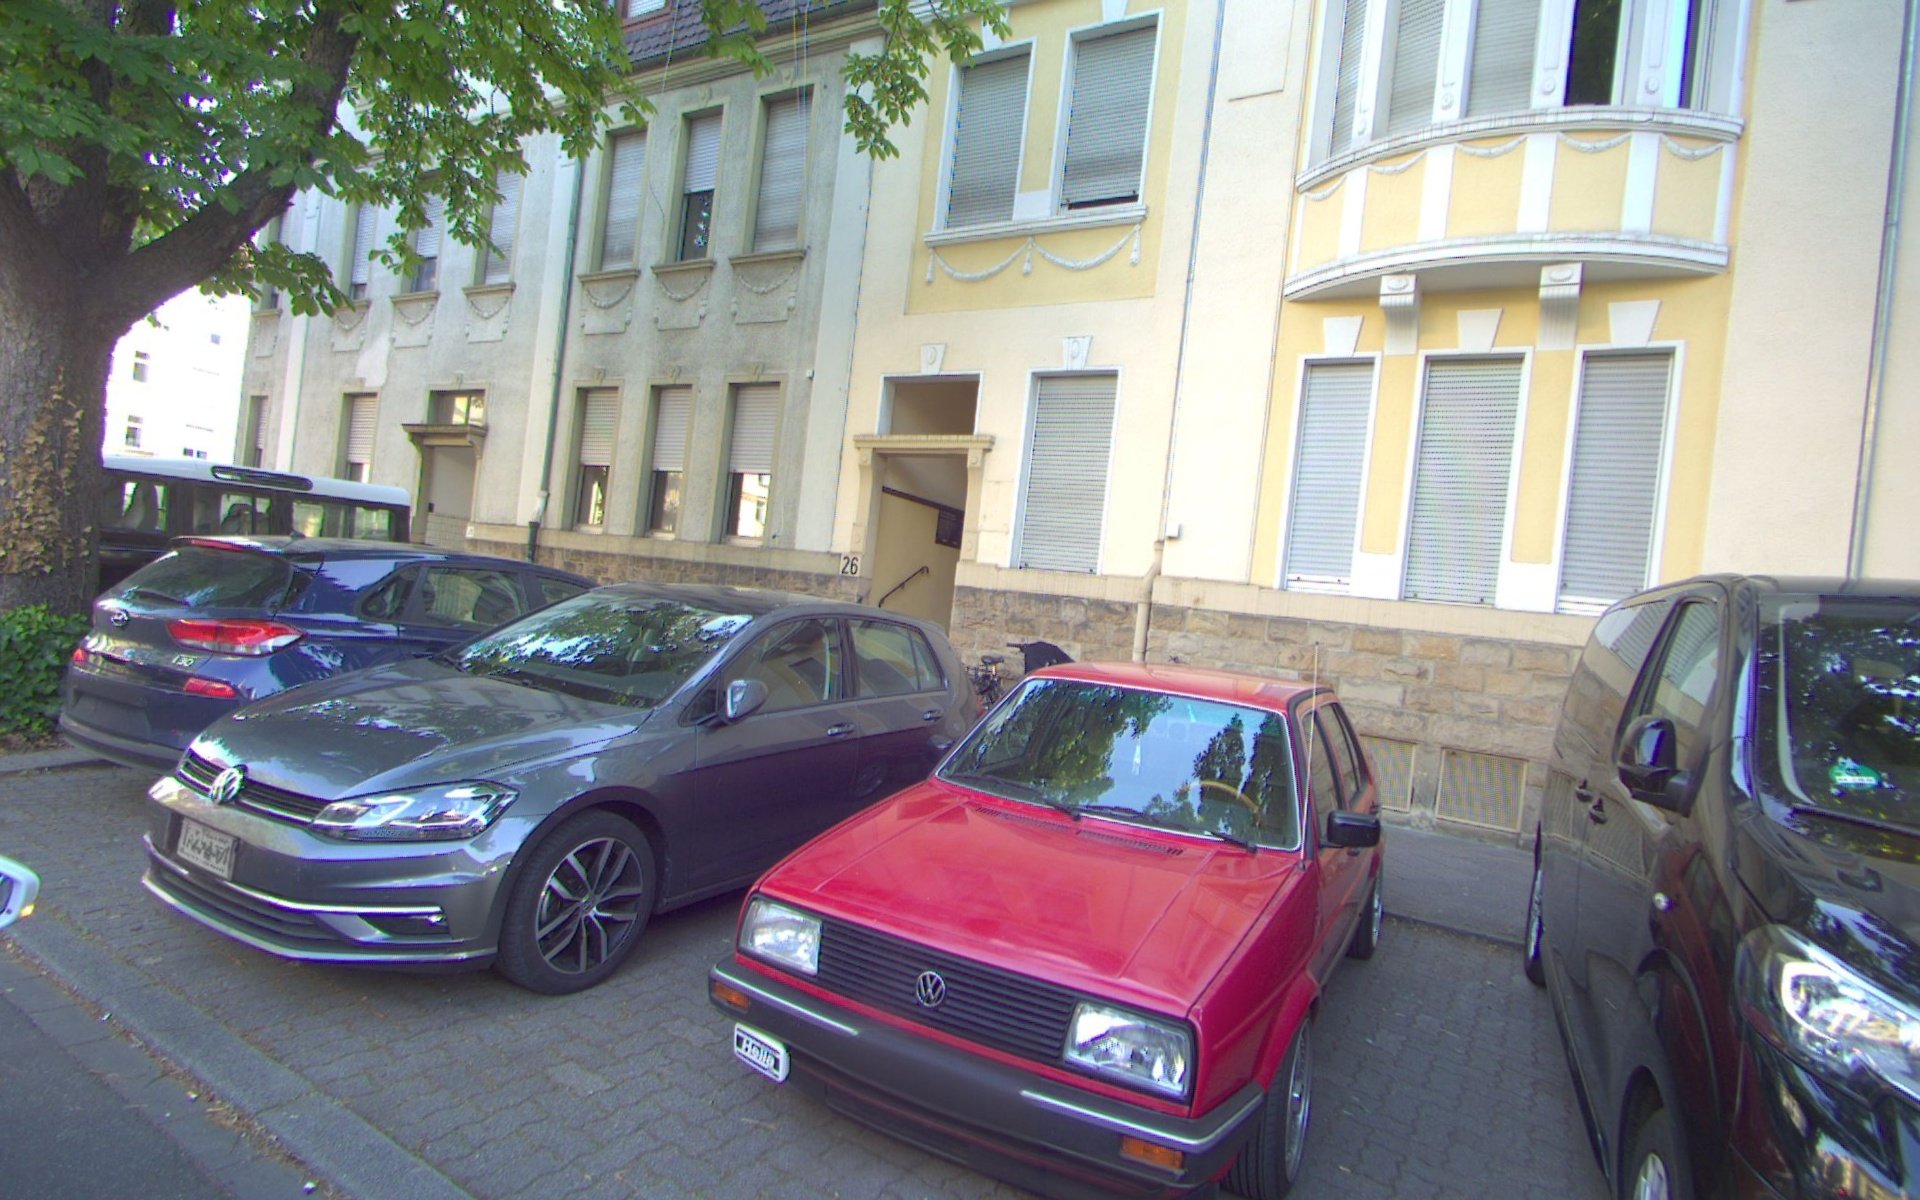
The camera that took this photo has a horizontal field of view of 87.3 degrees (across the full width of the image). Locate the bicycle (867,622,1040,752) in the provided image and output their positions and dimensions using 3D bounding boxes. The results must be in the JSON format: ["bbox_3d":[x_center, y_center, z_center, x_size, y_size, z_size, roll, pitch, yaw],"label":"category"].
[{"bbox_3d":[-0.087,0.865,10.404,1.675,1.090,0.500,7,2,32],"label":"bicycle"}]

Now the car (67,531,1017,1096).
[{"bbox_3d":[-1.370,0.645,4.858,1.600,1.440,4.054,6,0,29],"label":"car"}]

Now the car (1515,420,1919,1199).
[{"bbox_3d":[2.883,0.894,2.946,1.848,1.847,4.829,6,0,27],"label":"car"}]

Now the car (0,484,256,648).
[{"bbox_3d":[-10.003,-0.394,10.847,1.680,1.606,3.488,7,0,25],"label":"car"}]

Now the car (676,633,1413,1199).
[{"bbox_3d":[0.840,0.919,4.225,1.532,1.337,3.916,6,0,29],"label":"car"}]

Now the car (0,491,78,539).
[{"bbox_3d":[-37.051,-3.443,39.258,1.594,1.519,3.586,8,0,31],"label":"car"}]

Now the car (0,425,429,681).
[{"bbox_3d":[-7.631,-0.385,9.284,1.762,1.981,4.496,7,1,29],"label":"car"}]

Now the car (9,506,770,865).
[{"bbox_3d":[-3.060,0.411,6.223,1.600,1.440,3.754,6,0,29],"label":"car"}]

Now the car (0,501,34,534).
[{"bbox_3d":[-36.425,-3.242,36.850,1.357,1.081,3.370,7,-1,30],"label":"car"}]
